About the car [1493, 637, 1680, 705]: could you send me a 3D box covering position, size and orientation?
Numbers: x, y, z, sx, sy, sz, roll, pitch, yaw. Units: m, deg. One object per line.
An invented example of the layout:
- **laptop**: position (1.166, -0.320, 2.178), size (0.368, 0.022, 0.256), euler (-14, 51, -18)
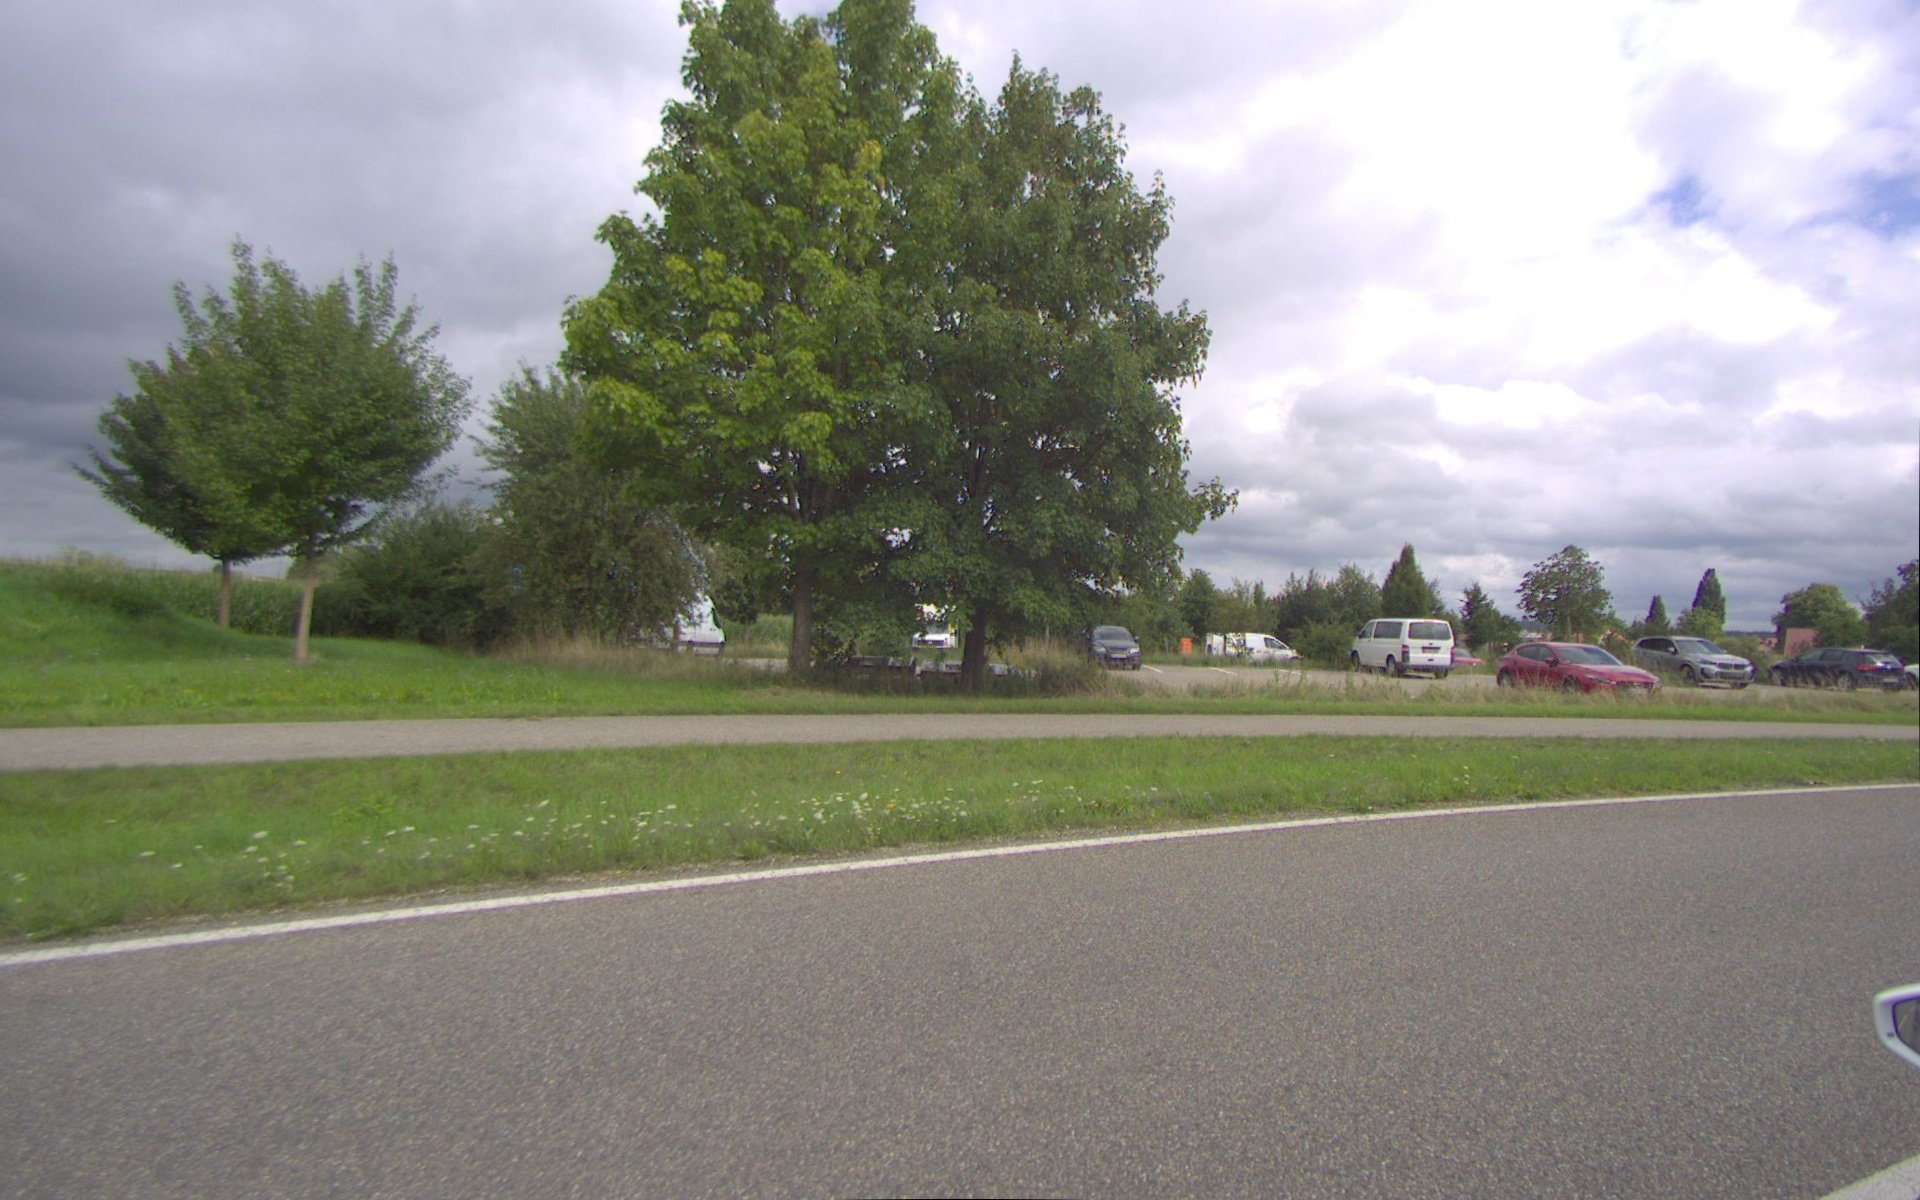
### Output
- **car**: position (14.711, 1.613, 23.913), size (1.778, 1.435, 4.380), euler (1, -2, 1)

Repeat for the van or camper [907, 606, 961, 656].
- **van or camper**: position (-1.279, 1.560, 52.536), size (2.240, 2.378, 6.052), euler (1, -1, 3)

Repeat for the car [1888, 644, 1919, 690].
- **car**: position (34.986, 2.397, 34.728), size (1.929, 1.572, 3.997), euler (1, -1, -6)

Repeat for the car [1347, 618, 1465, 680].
- **car**: position (15.517, 1.640, 35.291), size (2.021, 1.951, 4.697), euler (1, -1, 0)

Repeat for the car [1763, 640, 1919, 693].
- **car**: position (30.146, 2.234, 34.543), size (1.927, 1.572, 4.001), euler (1, -1, 1)

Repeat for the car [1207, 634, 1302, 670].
- **car**: position (14.604, 2.576, 50.078), size (4.360, 1.644, 2.002), euler (1, -2, 12)

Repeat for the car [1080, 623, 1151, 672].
- **car**: position (5.350, 1.619, 35.006), size (1.759, 1.545, 4.000), euler (1, -2, -1)

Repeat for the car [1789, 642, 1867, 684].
- **car**: position (34.351, 2.464, 39.835), size (1.746, 1.546, 3.786), euler (0, -2, 32)

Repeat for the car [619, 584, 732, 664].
- **car**: position (-10.331, 0.923, 37.091), size (2.157, 2.653, 6.338), euler (1, -2, 1)

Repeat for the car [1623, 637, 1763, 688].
- **car**: position (24.972, 2.092, 34.393), size (1.927, 1.572, 4.001), euler (1, -2, 1)
